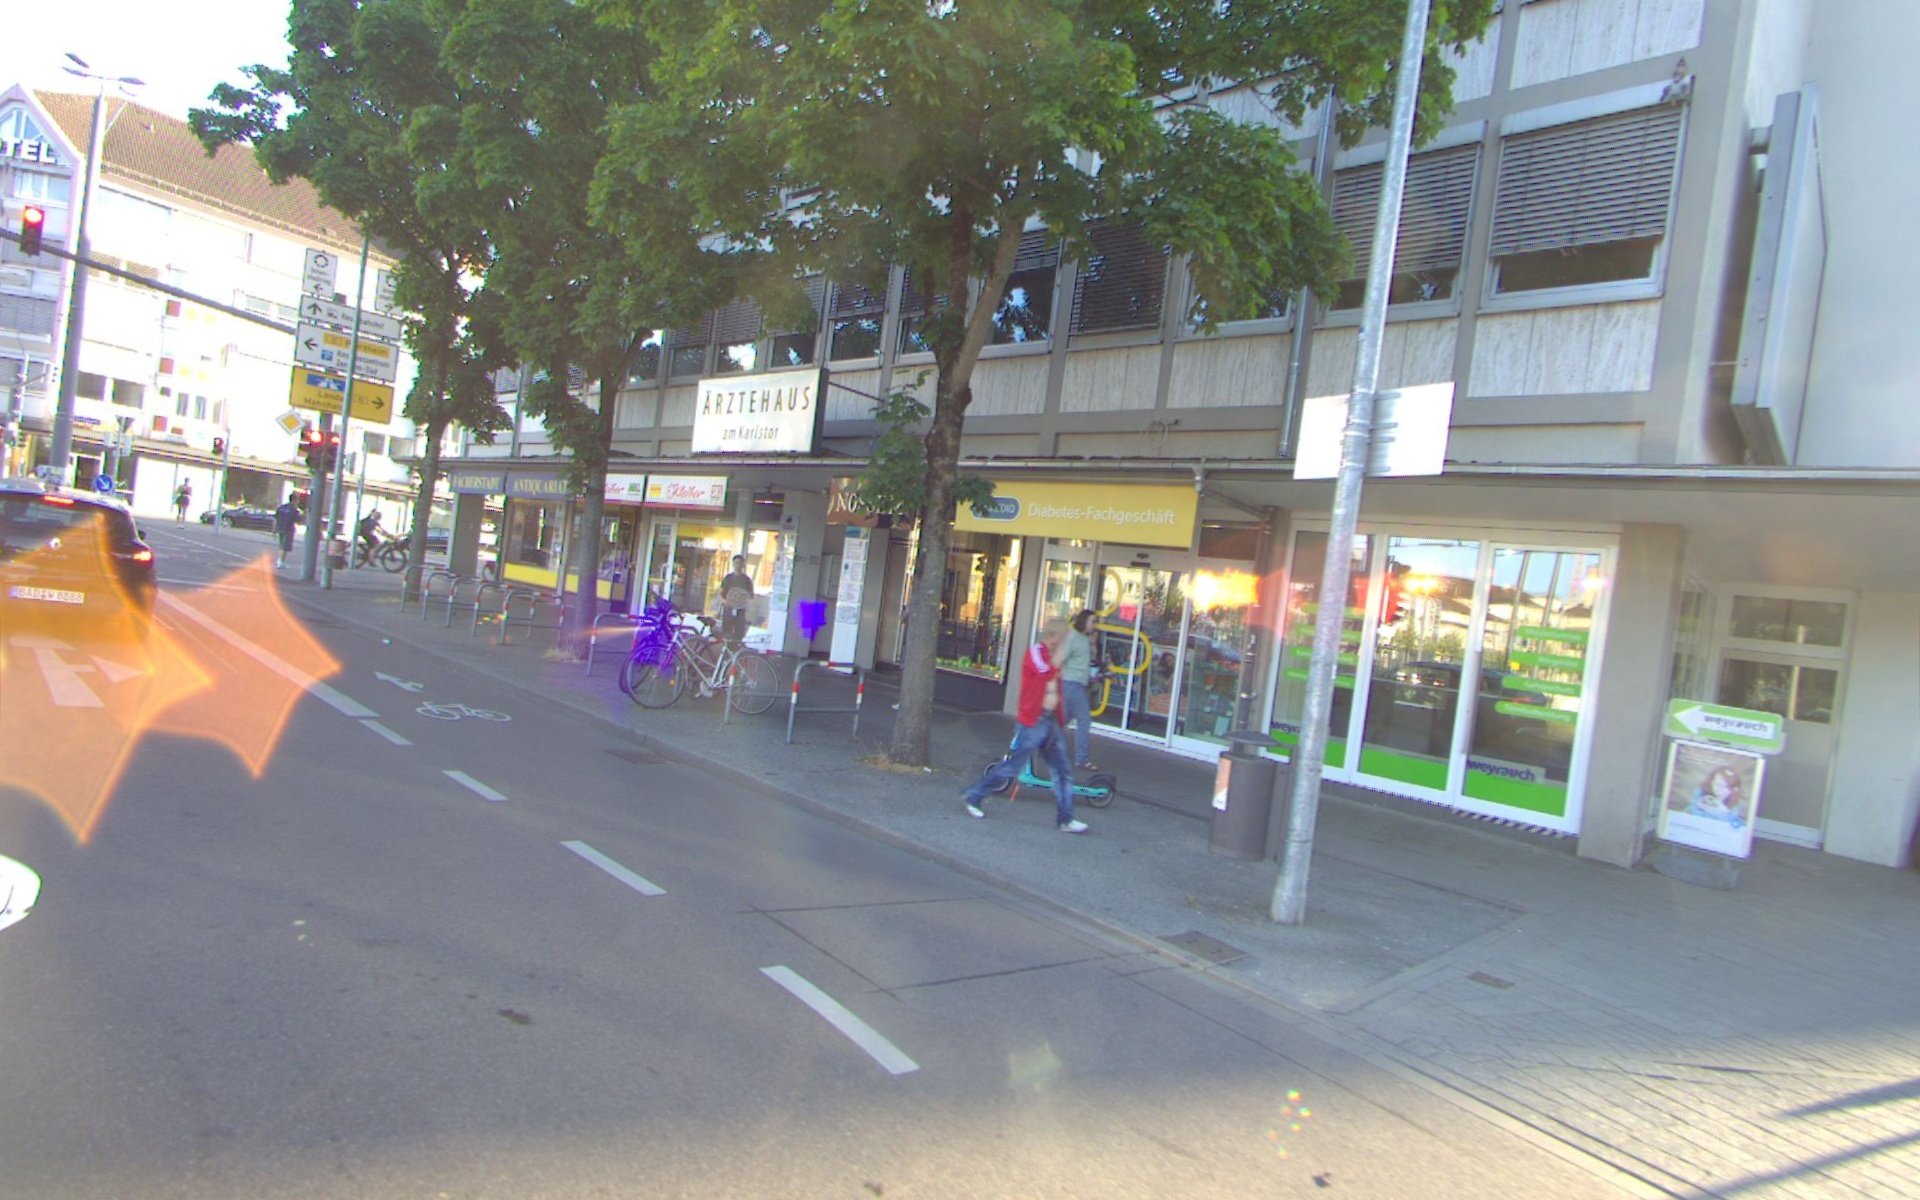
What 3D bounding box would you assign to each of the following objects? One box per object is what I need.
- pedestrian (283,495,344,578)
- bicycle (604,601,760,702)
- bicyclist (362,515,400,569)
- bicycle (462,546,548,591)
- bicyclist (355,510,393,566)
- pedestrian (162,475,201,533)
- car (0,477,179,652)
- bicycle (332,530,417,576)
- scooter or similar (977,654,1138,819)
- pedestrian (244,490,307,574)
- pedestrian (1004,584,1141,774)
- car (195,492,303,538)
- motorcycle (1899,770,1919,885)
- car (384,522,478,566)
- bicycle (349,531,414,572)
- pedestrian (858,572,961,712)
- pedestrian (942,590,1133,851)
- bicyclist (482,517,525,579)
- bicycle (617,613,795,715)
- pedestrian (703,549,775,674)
[{"bbox_3d":[-15.590,-1.504,24.280,0.718,1.851,0.995,9,-1,-14],"label":"pedestrian"},{"bbox_3d":[-3.240,0.628,11.848,1.652,0.985,0.382,10,-1,-41],"label":"bicycle"},{"bbox_3d":[-17.510,-1.739,30.423,0.541,1.531,0.704,8,3,34],"label":"bicyclist"},{"bbox_3d":[-15.231,-1.031,33.776,0.429,1.112,2.643,8,-2,36],"label":"bicycle"},{"bbox_3d":[-17.101,-1.815,29.373,0.541,1.531,0.703,8,3,36],"label":"bicyclist"},{"bbox_3d":[-26.190,-3.221,33.826,0.790,1.799,0.745,8,-1,45],"label":"pedestrian"},{"bbox_3d":[-9.852,-0.509,10.661,3.945,1.457,1.762,8,-1,43],"label":"car"},{"bbox_3d":[-17.097,-1.352,29.426,0.411,1.040,2.037,8,-1,37],"label":"bicycle"},{"bbox_3d":[0.818,1.145,8.544,1.199,1.232,0.294,7,0,-2],"label":"scooter or similar"},{"bbox_3d":[-16.375,-1.614,24.098,0.717,1.851,0.995,9,-1,-13],"label":"pedestrian"},{"bbox_3d":[1.182,0.821,10.550,0.958,1.799,0.747,8,-1,36],"label":"pedestrian"},{"bbox_3d":[-35.883,-4.284,50.811,1.971,1.493,3.986,8,-2,40],"label":"car"},{"bbox_3d":[11.261,2.569,10.832,2.267,1.182,0.805,8,0,-25],"label":"motorcycle"},{"bbox_3d":[-30.396,-3.207,57.883,1.971,1.715,4.233,8,-2,40],"label":"car"},{"bbox_3d":[-17.514,-1.459,30.492,0.348,1.040,1.612,8,0,36],"label":"bicycle"},{"bbox_3d":[-0.671,0.554,13.332,0.882,1.703,0.745,8,-1,44],"label":"pedestrian"},{"bbox_3d":[0.607,0.875,7.593,1.029,1.704,0.827,8,-1,20],"label":"pedestrian"},{"bbox_3d":[-15.241,-1.741,33.589,0.636,1.900,0.861,8,-1,36],"label":"bicyclist"},{"bbox_3d":[-2.756,0.728,11.079,1.812,0.901,0.410,10,-2,-41],"label":"bicycle"},{"bbox_3d":[-3.438,0.170,15.589,0.739,1.799,0.796,9,-1,-21],"label":"pedestrian"}]
